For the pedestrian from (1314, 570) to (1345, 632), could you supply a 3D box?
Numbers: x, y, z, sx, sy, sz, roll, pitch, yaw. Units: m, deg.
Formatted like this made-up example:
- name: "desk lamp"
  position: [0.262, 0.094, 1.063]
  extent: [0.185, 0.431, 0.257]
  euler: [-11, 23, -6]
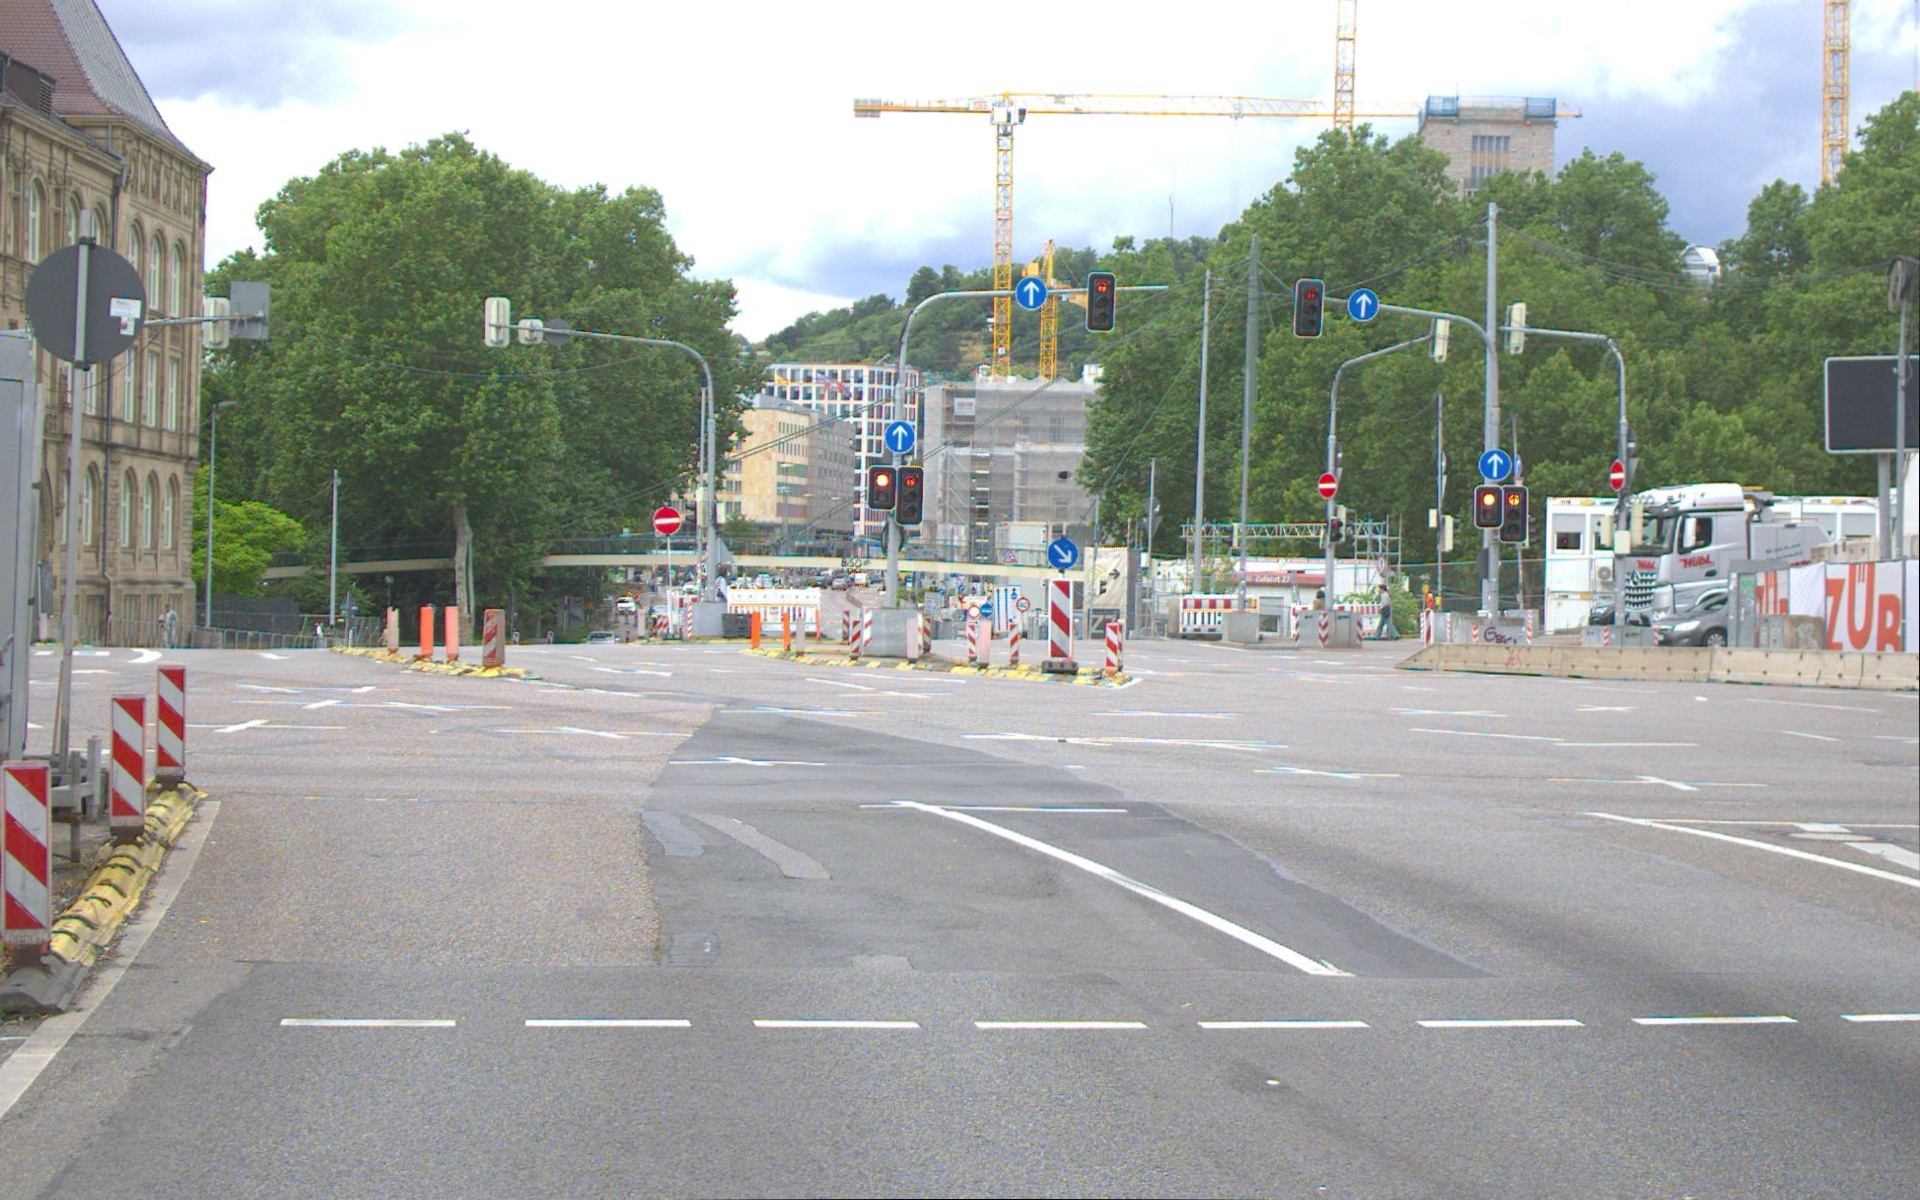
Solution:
- name: "pedestrian"
  position: [10.192, 0.018, 94.917]
  extent: [0.729, 1.683, 0.678]
  euler: [1, 1, -1]

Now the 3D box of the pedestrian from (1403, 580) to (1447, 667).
- name: "pedestrian"
  position: [9.126, 0.458, 67.455]
  extent: [0.729, 1.683, 0.678]
  euler: [1, 1, -1]

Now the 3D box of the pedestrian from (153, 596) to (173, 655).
- name: "pedestrian"
  position: [-27.086, 0.863, 116.898]
  extent: [0.524, 2.007, 0.567]
  euler: [1, 1, 0]

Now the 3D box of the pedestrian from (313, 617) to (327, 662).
- name: "pedestrian"
  position: [-28.678, 1.767, 154.040]
  extent: [0.524, 2.007, 0.567]
  euler: [1, 1, 0]

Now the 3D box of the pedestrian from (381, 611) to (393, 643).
- name: "pedestrian"
  position: [-29.184, 1.379, 175.211]
  extent: [0.536, 1.587, 0.516]
  euler: [1, 1, -4]

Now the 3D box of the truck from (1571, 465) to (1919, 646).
- name: "truck"
  position: [21.350, -0.995, 81.996]
  extent: [13.022, 4.027, 3.952]
  euler: [1, 1, -20]

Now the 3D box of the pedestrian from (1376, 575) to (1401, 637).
- name: "pedestrian"
  position: [11.799, 0.161, 94.689]
  extent: [0.566, 1.683, 0.472]
  euler: [1, 1, -1]
